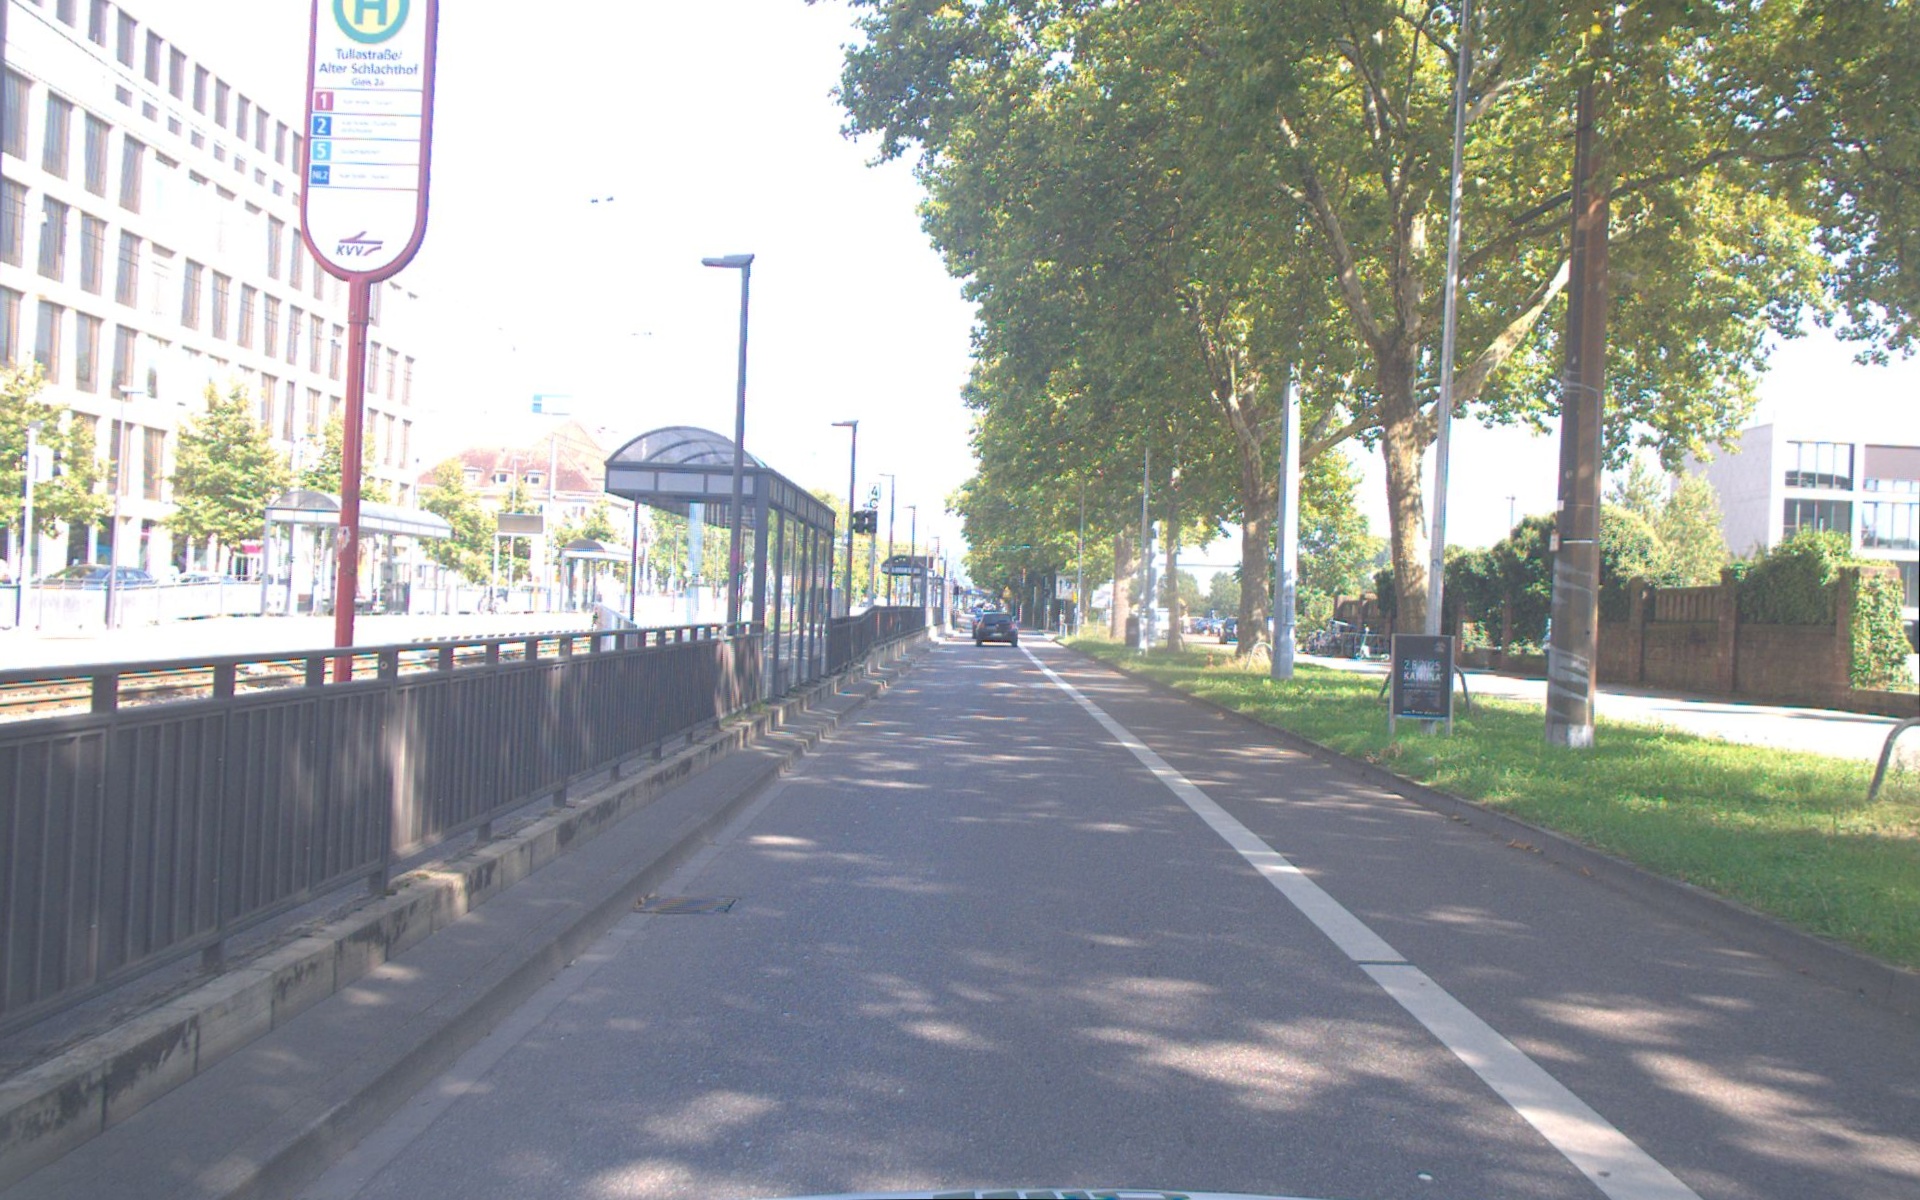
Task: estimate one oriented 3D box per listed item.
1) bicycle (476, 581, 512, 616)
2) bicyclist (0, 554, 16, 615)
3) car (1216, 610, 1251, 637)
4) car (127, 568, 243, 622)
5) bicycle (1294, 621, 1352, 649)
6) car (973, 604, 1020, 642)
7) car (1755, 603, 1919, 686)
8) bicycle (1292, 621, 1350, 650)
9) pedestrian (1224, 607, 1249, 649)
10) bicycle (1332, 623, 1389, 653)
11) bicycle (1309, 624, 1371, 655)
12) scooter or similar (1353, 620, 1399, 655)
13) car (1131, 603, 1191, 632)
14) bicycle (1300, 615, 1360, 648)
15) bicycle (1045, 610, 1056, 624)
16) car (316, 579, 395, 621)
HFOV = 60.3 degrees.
[{"bbox_3d":[-16.154,-0.038,57.308,0.461,1.167,1.484,2,-1,15],"label":"bicycle"},{"bbox_3d":[-22.007,-0.364,37.959,0.379,1.384,0.447,2,0,0],"label":"bicyclist"},{"bbox_3d":[16.924,1.415,102.391,1.574,1.603,3.796,1,0,1],"label":"car"},{"bbox_3d":[-24.578,-0.142,52.608,1.728,1.602,4.131,1,0,-1],"label":"car"},{"bbox_3d":[14.103,1.354,64.290,2.127,1.095,0.743,0,-1,4],"label":"bicycle"},{"bbox_3d":[1.514,0.950,69.415,1.868,1.564,4.000,0,0,0],"label":"car"},{"bbox_3d":[20.724,1.001,37.539,4.430,1.764,1.909,1,0,-2],"label":"car"},{"bbox_3d":[14.203,1.388,65.090,2.127,1.095,0.743,0,-1,4],"label":"bicycle"},{"bbox_3d":[10.325,1.049,61.770,0.767,1.541,0.787,2,0,0],"label":"pedestrian"},{"bbox_3d":[14.278,1.350,58.988,1.829,1.024,0.735,2,-1,-1],"label":"bicycle"},{"bbox_3d":[14.264,1.487,62.061,2.129,1.095,0.743,2,-1,-1],"label":"bicycle"},{"bbox_3d":[14.530,1.299,57.754,1.474,1.212,0.539,0,-1,4],"label":"scooter or similar"},{"bbox_3d":[13.898,1.207,114.561,4.017,1.952,1.848,1,0,3],"label":"car"},{"bbox_3d":[14.899,1.279,66.584,2.198,1.299,0.998,0,-2,0],"label":"bicycle"},{"bbox_3d":[7.138,1.314,130.110,0.598,1.040,2.401,2,0,-3],"label":"bicycle"},{"bbox_3d":[-24.501,0.018,67.171,1.728,1.631,4.131,1,0,-1],"label":"car"}]
